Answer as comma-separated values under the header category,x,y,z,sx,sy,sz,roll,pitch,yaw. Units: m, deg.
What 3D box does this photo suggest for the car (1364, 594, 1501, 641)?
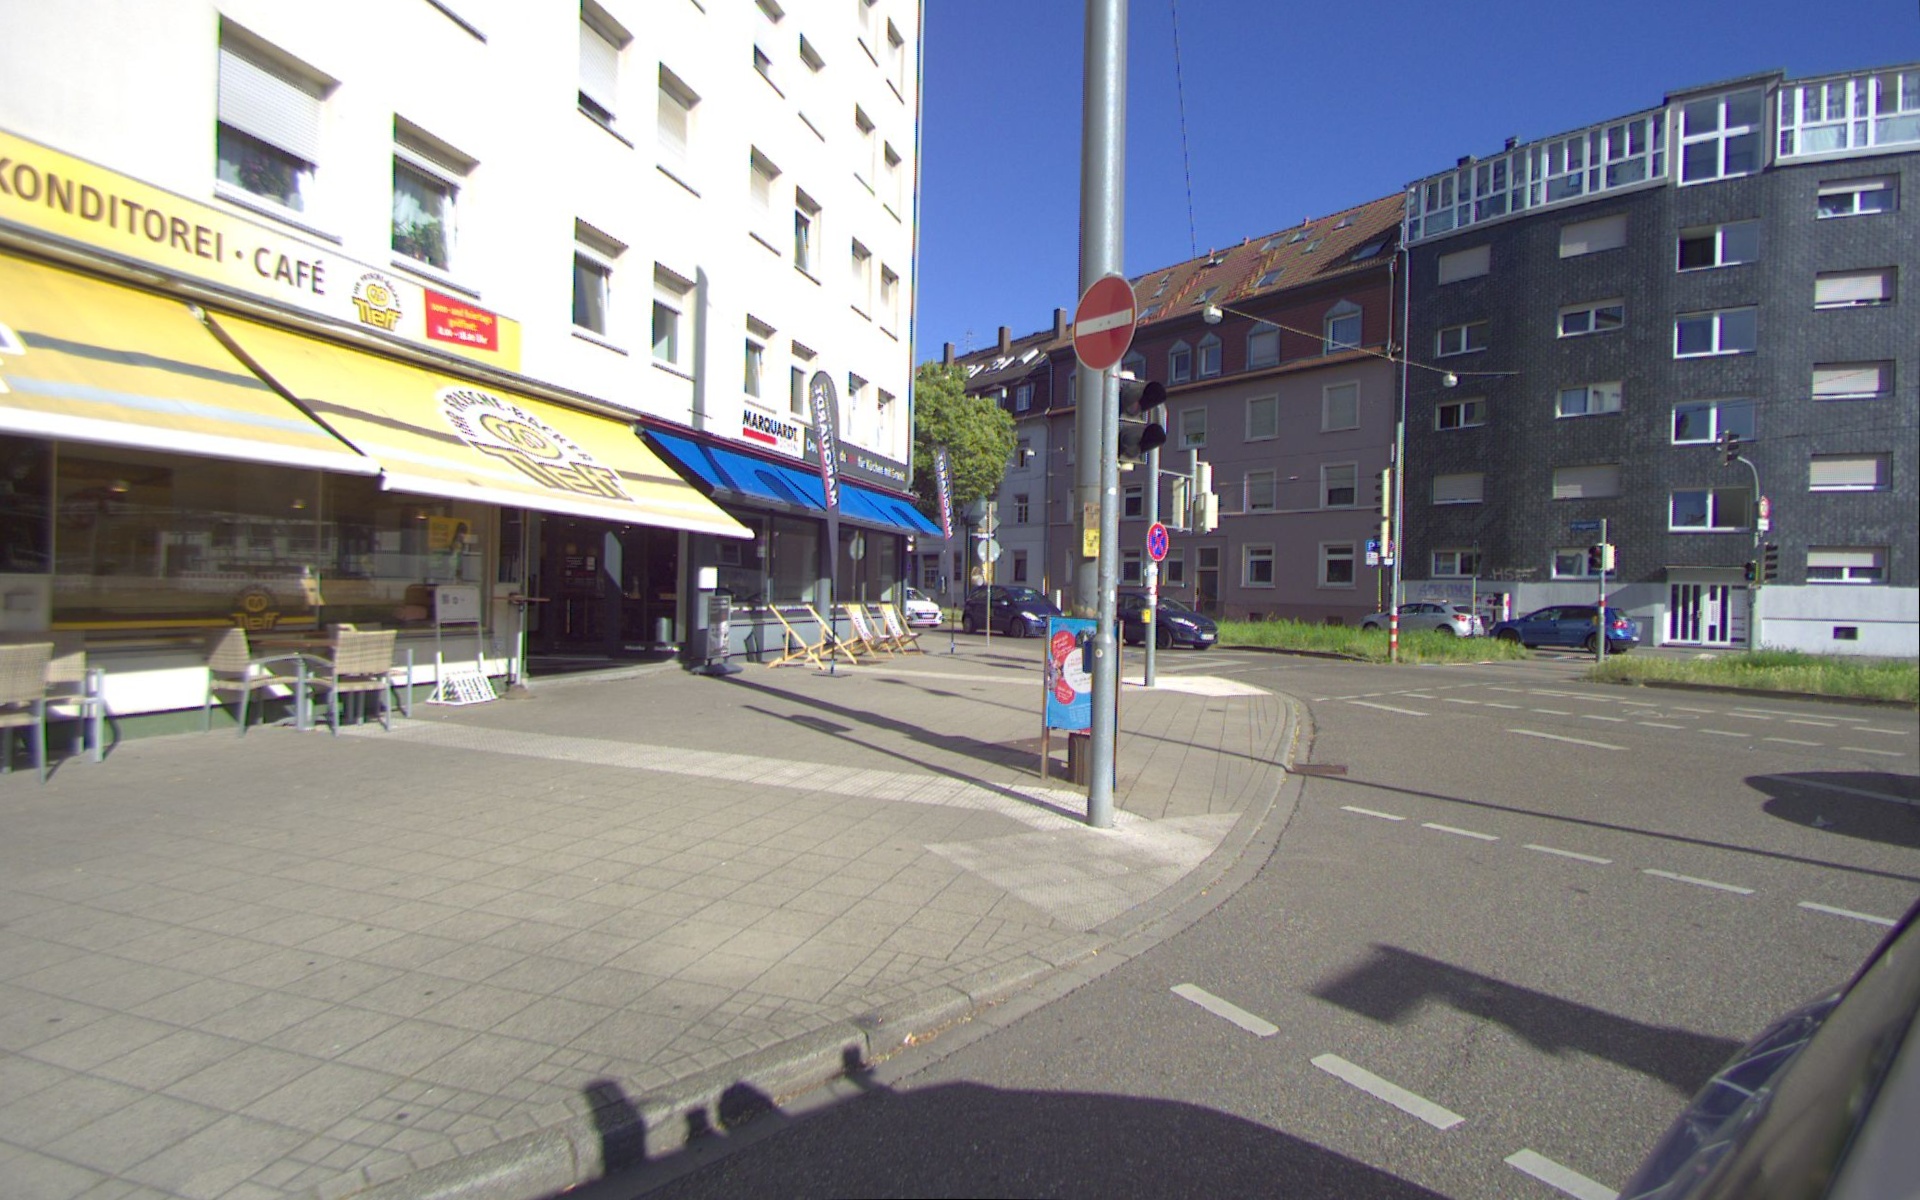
category,x,y,z,sx,sy,sz,roll,pitch,yaw
car,16.385,0.578,35.264,1.657,1.433,4.000,1,1,-36

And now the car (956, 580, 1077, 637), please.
category,x,y,z,sx,sy,sz,roll,pitch,yaw
car,1.691,0.228,31.361,1.627,1.601,4.001,1,1,-34

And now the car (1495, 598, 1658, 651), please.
category,x,y,z,sx,sy,sz,roll,pitch,yaw
car,19.115,0.726,31.508,1.657,1.433,4.000,1,1,-36

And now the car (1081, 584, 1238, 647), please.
category,x,y,z,sx,sy,sz,roll,pitch,yaw
car,5.204,0.364,26.835,1.701,1.471,4.001,3,0,-34

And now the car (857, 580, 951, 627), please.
category,x,y,z,sx,sy,sz,roll,pitch,yaw
car,-2.144,0.087,37.723,1.627,1.601,4.001,1,1,-34
